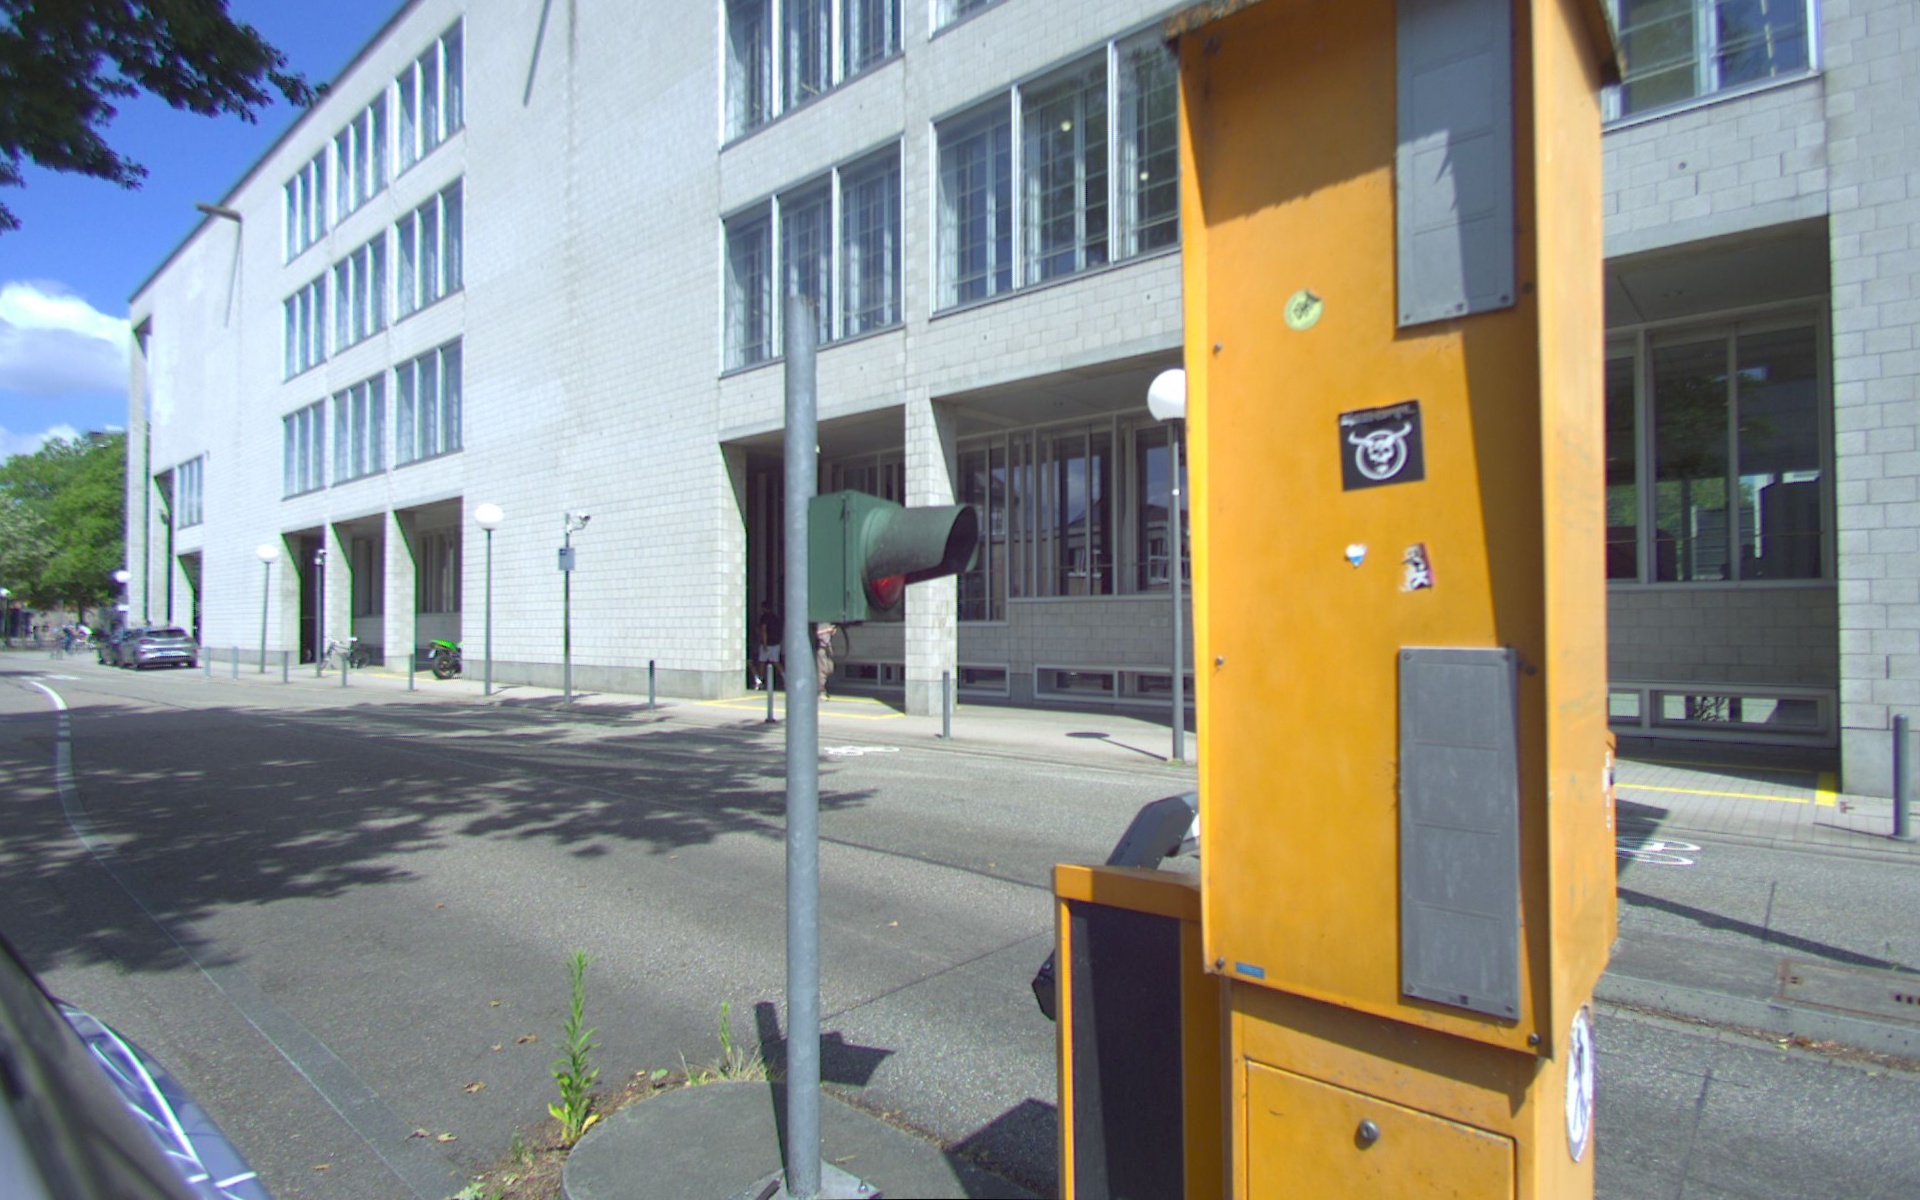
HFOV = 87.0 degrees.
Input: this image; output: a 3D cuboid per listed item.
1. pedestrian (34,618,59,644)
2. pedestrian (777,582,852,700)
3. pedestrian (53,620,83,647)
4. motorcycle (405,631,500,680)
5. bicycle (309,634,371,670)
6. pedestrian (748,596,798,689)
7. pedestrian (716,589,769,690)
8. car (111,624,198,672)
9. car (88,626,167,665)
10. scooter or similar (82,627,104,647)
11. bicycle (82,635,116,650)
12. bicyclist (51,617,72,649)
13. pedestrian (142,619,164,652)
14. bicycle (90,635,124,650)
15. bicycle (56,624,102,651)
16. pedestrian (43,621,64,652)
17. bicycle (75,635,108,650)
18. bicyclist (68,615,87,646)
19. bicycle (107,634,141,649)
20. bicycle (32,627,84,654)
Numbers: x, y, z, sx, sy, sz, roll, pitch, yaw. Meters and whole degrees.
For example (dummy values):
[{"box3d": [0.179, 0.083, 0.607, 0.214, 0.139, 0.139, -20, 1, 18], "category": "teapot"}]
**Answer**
[{"box3d": [-73.550, 2.480, 81.476, 1.369, 2.029, 1.382, -2, -1, 41], "category": "pedestrian"}, {"box3d": [-2.600, 0.730, 18.077, 1.065, 2.029, 0.839, -1, -2, 39], "category": "pedestrian"}, {"box3d": [-61.618, 2.302, 69.896, 1.369, 1.838, 1.382, -2, -1, 41], "category": "pedestrian"}, {"box3d": [-13.286, 1.433, 26.570, 0.772, 1.146, 2.150, -1, 0, 31], "category": "motorcycle"}, {"box3d": [-20.071, 1.668, 32.778, 0.607, 1.095, 1.624, -1, -1, 36], "category": "bicycle"}, {"box3d": [-3.911, 0.875, 21.181, 0.719, 1.895, 0.723, -2, -1, 41], "category": "pedestrian"}, {"box3d": [-4.456, 0.793, 20.730, 0.829, 2.029, 0.691, -2, -1, 41], "category": "pedestrian"}, {"box3d": [-29.104, 1.672, 36.534, 4.404, 1.546, 1.708, -1, 1, 42], "category": "car"}, {"box3d": [-33.092, 1.790, 40.187, 4.663, 1.434, 1.708, -2, -1, 42], "category": "car"}, {"box3d": [-55.299, 2.342, 64.555, 0.702, 1.200, 1.620, 0, 0, -27], "category": "scooter or similar"}, {"box3d": [-67.609, 3.339, 79.508, 0.616, 1.066, 2.116, -1, -1, 11], "category": "bicycle"}, {"box3d": [-50.490, 1.828, 56.854, 0.720, 1.790, 0.764, 0, -1, -27], "category": "bicyclist"}, {"box3d": [-44.178, 1.949, 55.407, 1.080, 1.794, 0.745, -2, -1, 41], "category": "pedestrian"}, {"box3d": [-66.911, 3.333, 79.385, 0.676, 1.066, 2.116, -1, -1, 11], "category": "bicycle"}, {"box3d": [-50.995, 2.156, 58.564, 1.902, 1.505, 0.641, 0, -1, -24], "category": "bicycle"}, {"box3d": [-53.632, 2.147, 59.881, 0.749, 1.738, 1.237, -3, 1, -38], "category": "pedestrian"}, {"box3d": [-68.854, 3.376, 80.247, 0.616, 1.066, 2.116, -1, -1, 11], "category": "bicycle"}, {"box3d": [-51.045, 1.760, 58.559, 0.684, 1.778, 0.611, 0, -1, -23], "category": "bicyclist"}, {"box3d": [-65.347, 3.243, 79.116, 0.676, 1.066, 2.116, -1, -1, 11], "category": "bicycle"}, {"box3d": [-50.592, 2.261, 56.784, 2.026, 1.505, 0.801, 0, -1, -29], "category": "bicycle"}]
